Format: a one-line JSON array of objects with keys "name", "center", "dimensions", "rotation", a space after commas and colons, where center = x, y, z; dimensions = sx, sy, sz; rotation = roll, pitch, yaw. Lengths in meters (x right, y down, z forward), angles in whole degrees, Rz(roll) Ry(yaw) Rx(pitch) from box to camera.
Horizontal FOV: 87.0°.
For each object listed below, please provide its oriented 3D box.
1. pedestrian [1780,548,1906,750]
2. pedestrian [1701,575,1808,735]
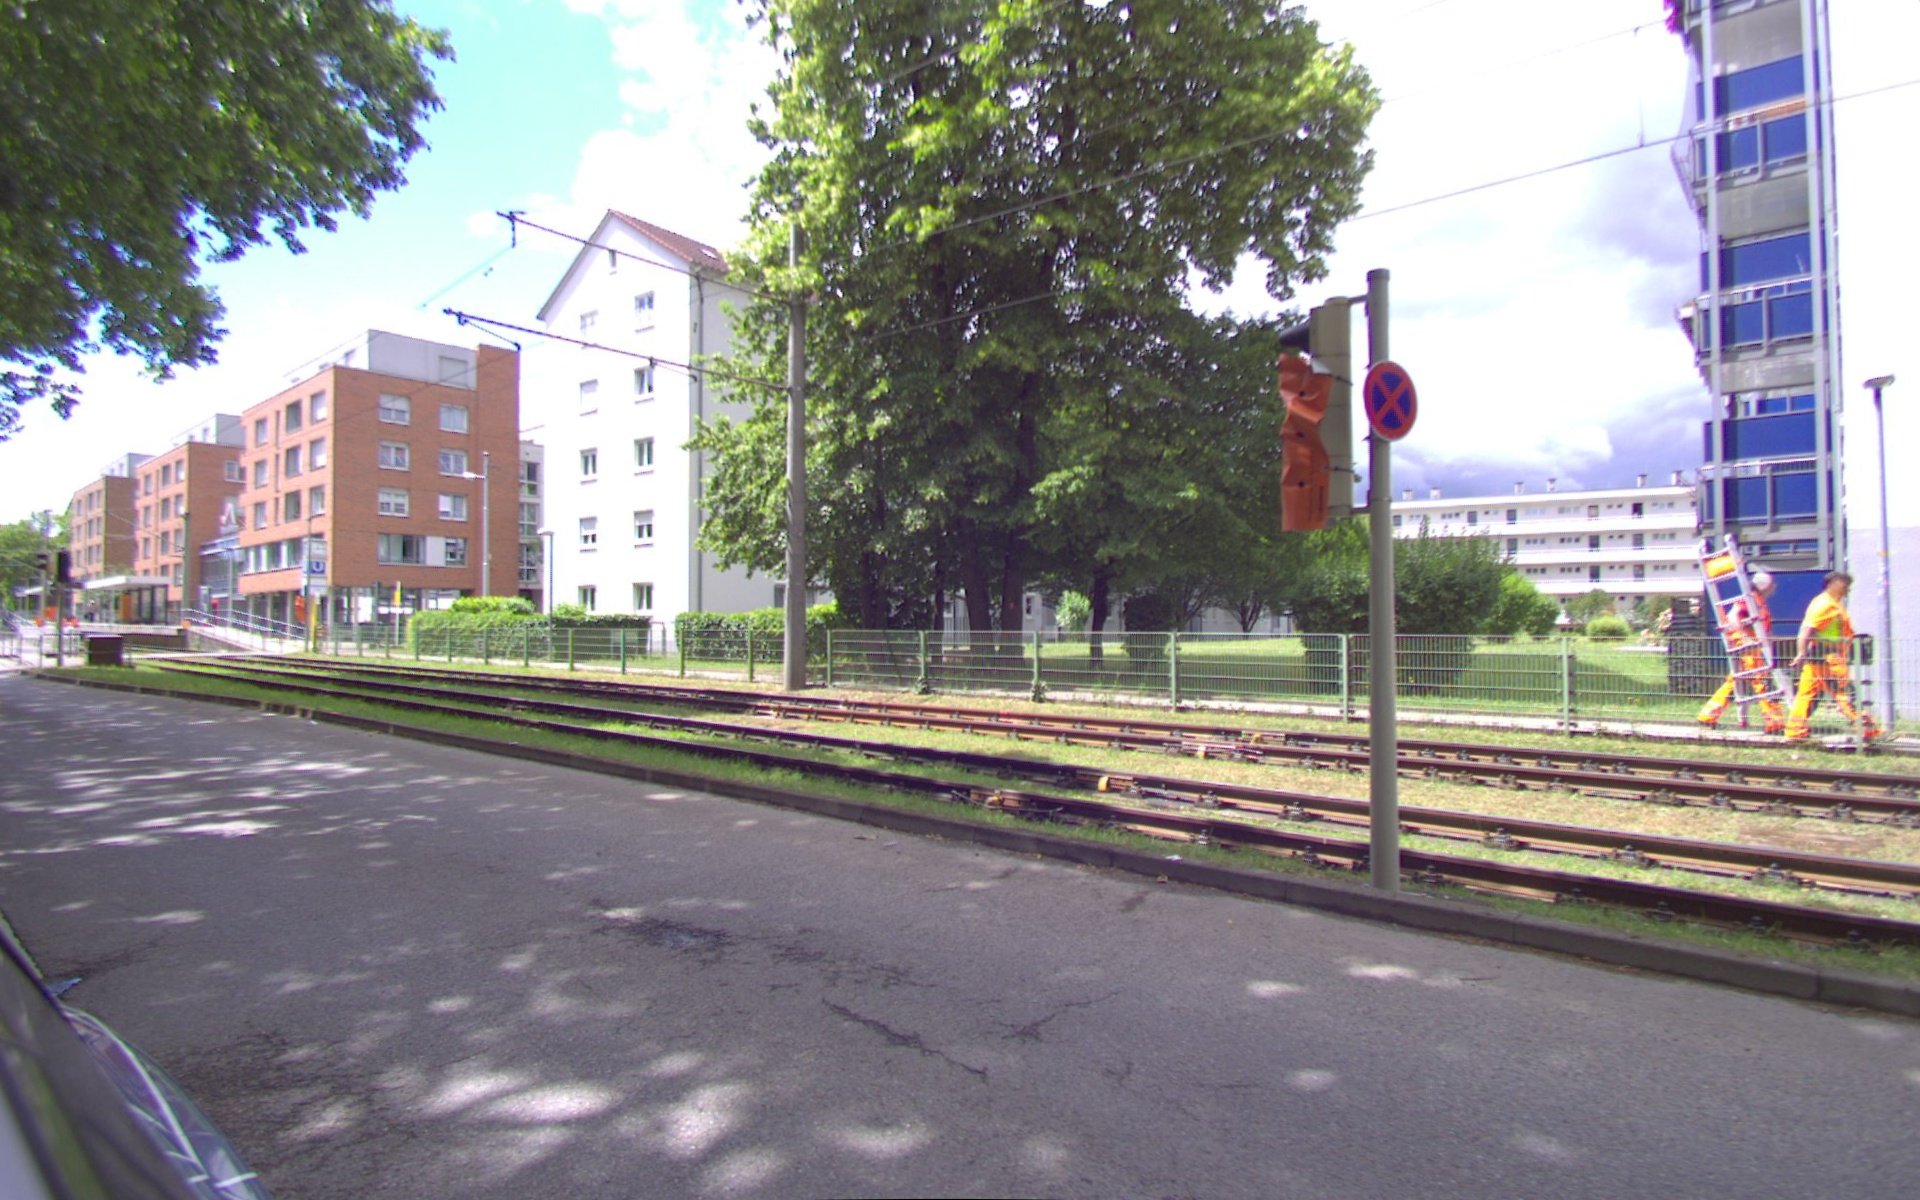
[{"name": "pedestrian", "center": [8.856, 0.478, 10.188], "dimensions": [0.880, 1.922, 0.658], "rotation": [-2, -2, 40]}, {"name": "pedestrian", "center": [8.884, 0.598, 11.316], "dimensions": [0.880, 1.696, 0.658], "rotation": [-2, -2, 40]}]
